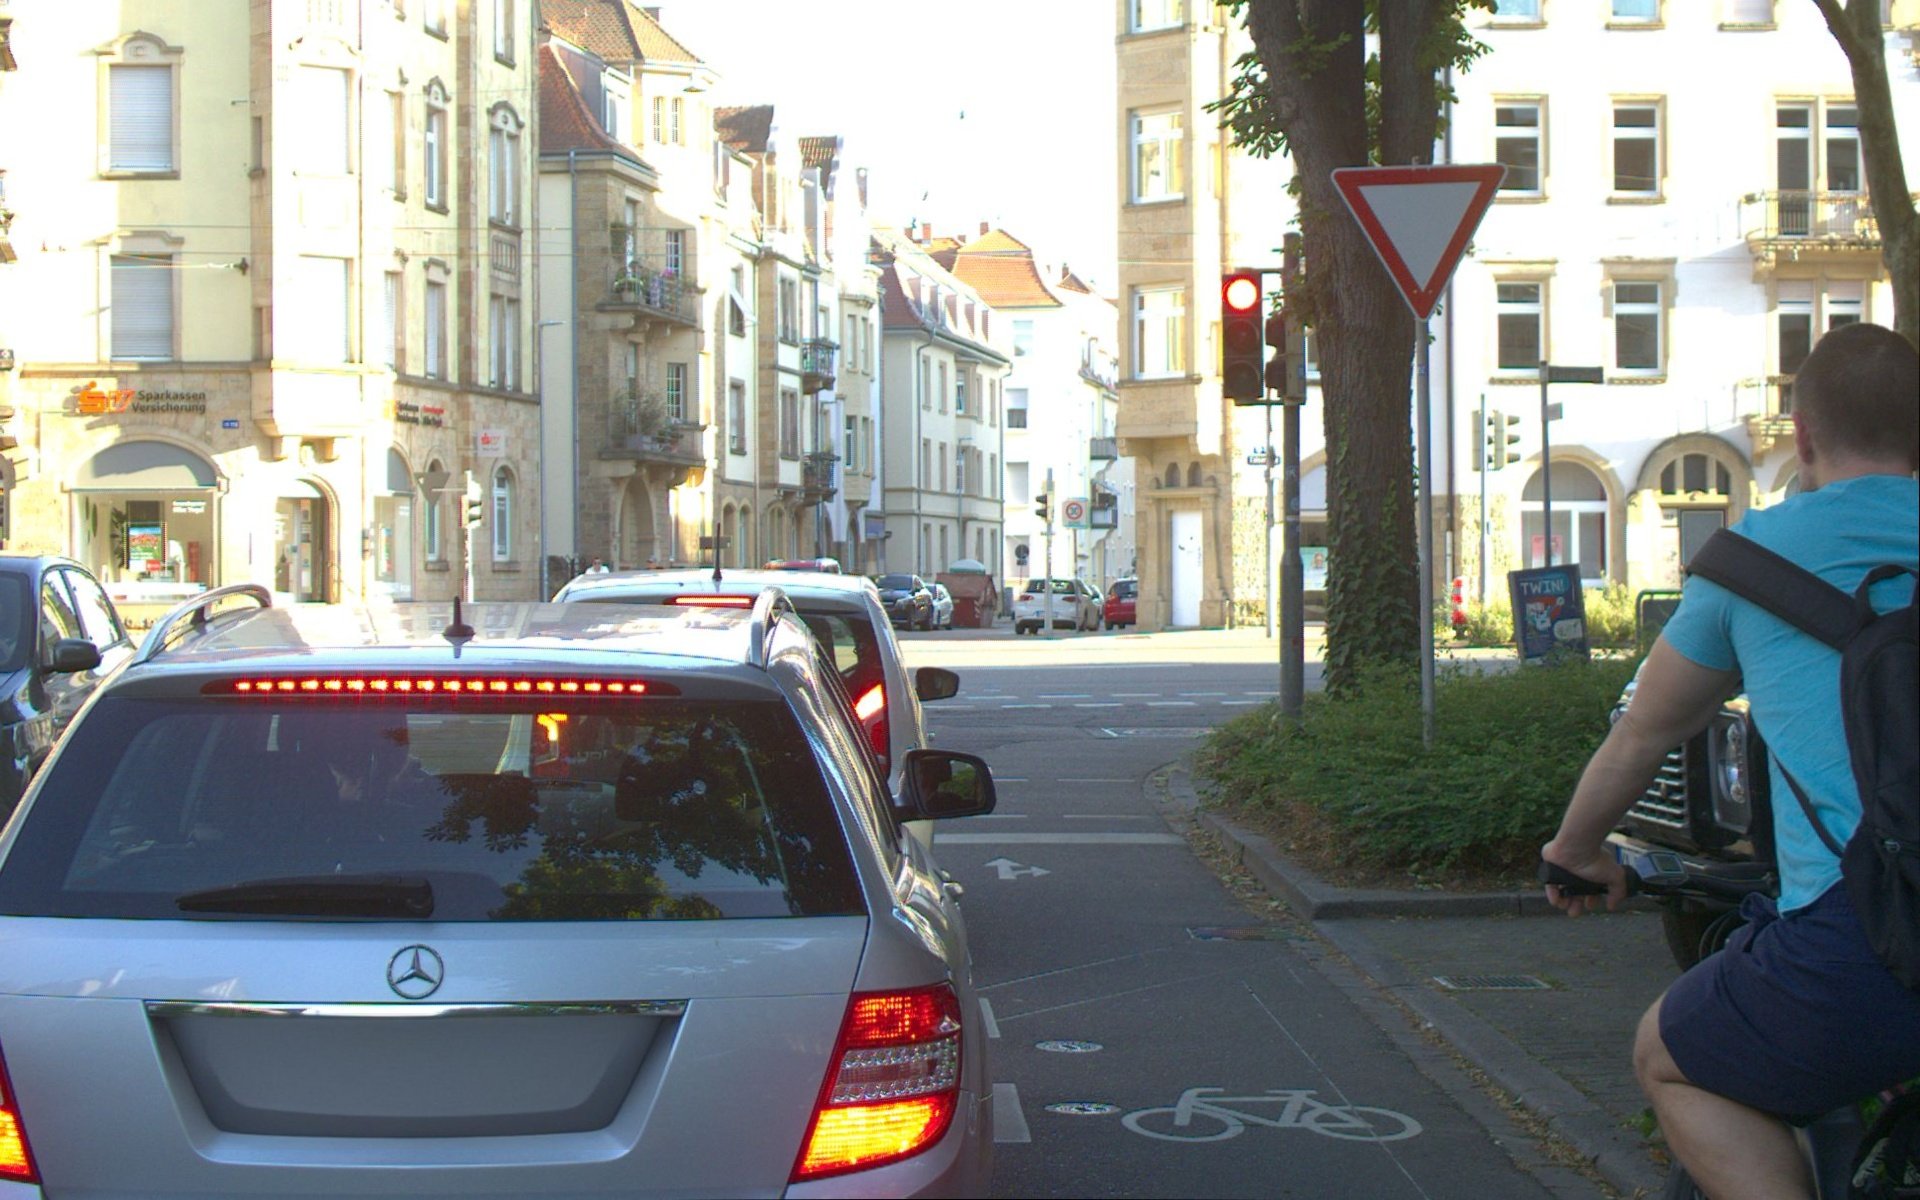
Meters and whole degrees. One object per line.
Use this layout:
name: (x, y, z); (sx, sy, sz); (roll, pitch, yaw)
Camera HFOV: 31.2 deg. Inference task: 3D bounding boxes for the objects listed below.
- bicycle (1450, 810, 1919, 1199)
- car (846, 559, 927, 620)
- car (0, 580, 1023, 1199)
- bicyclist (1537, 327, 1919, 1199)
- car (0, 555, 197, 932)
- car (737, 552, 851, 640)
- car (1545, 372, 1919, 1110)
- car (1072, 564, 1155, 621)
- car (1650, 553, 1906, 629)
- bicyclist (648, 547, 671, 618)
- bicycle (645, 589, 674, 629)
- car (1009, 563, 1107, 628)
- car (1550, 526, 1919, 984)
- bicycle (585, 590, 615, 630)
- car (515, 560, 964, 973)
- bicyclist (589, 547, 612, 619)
bicycle: (1.138, 0.904, 4.297); (0.742, 1.114, 2.013); (1, 1, -1)
car: (-2.178, -0.306, 102.358); (1.651, 1.777, 3.861); (0, 0, 11)
car: (-0.864, 0.705, 6.467); (1.690, 1.424, 3.493); (1, 1, -3)
bicyclist: (1.120, 0.577, 4.287); (0.646, 1.769, 0.831); (1, 0, -1)
car: (-4.673, 0.557, 15.635); (1.615, 1.496, 3.592); (0, 1, 0)
car: (-3.823, -0.115, 79.804); (1.938, 1.952, 4.149); (0, 1, 8)
car: (4.188, 0.288, 10.175); (4.490, 1.949, 1.793); (-2, 1, -3)
car: (4.572, -0.232, 102.068); (1.722, 1.473, 3.998); (-4, 1, 12)
car: (11.817, -0.134, 49.790); (3.364, 1.065, 1.380); (0, 1, -1)
bicyclist: (-6.417, -0.377, 73.350); (0.466, 1.516, 0.694); (0, 1, -4)
bicycle: (-6.399, 0.185, 73.270); (0.568, 0.832, 1.566); (0, 1, -4)
car: (2.478, -0.125, 85.890); (1.722, 1.473, 3.998); (-2, 1, 12)
car: (4.202, 0.498, 13.087); (3.480, 1.580, 1.711); (-2, 1, -6)
bicycle: (-7.667, 0.205, 73.298); (0.568, 0.832, 1.566); (0, 1, -4)
car: (-0.822, 0.554, 13.600); (1.533, 1.386, 3.600); (0, 1, -2)
bicyclist: (-7.677, -0.366, 73.383); (0.466, 1.509, 0.655); (0, 1, -4)
